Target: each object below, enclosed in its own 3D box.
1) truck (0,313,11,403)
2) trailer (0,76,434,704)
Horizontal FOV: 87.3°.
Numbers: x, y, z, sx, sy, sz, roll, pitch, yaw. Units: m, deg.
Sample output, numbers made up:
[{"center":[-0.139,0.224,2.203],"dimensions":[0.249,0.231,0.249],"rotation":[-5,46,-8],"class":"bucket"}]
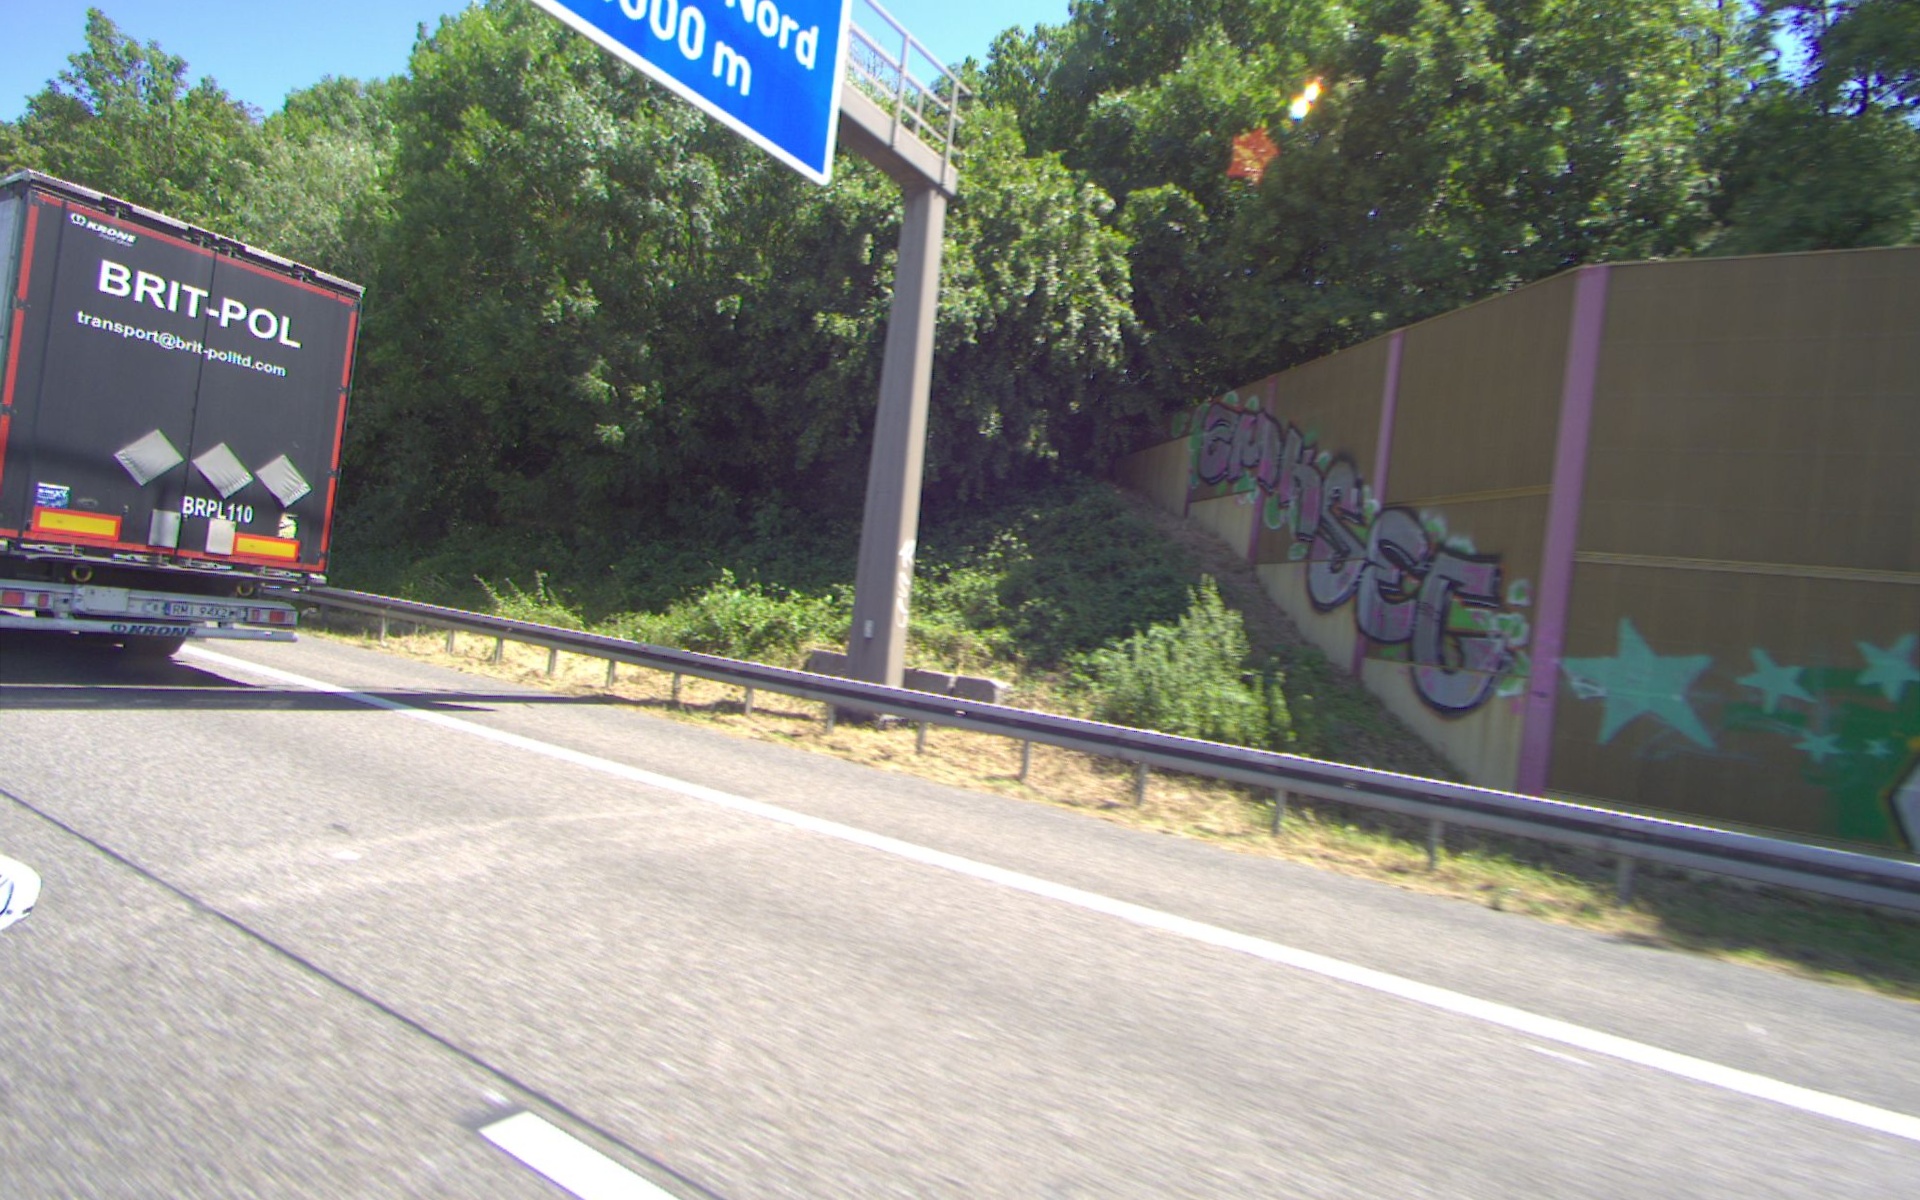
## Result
[{"center":[-18.782,-2.732,16.357],"dimensions":[5.953,4.493,3.093],"rotation":[6,-1,32],"class":"truck"},{"center":[-12.460,-2.056,12.456],"dimensions":[14.649,4.560,3.111],"rotation":[6,-1,32],"class":"trailer"}]
